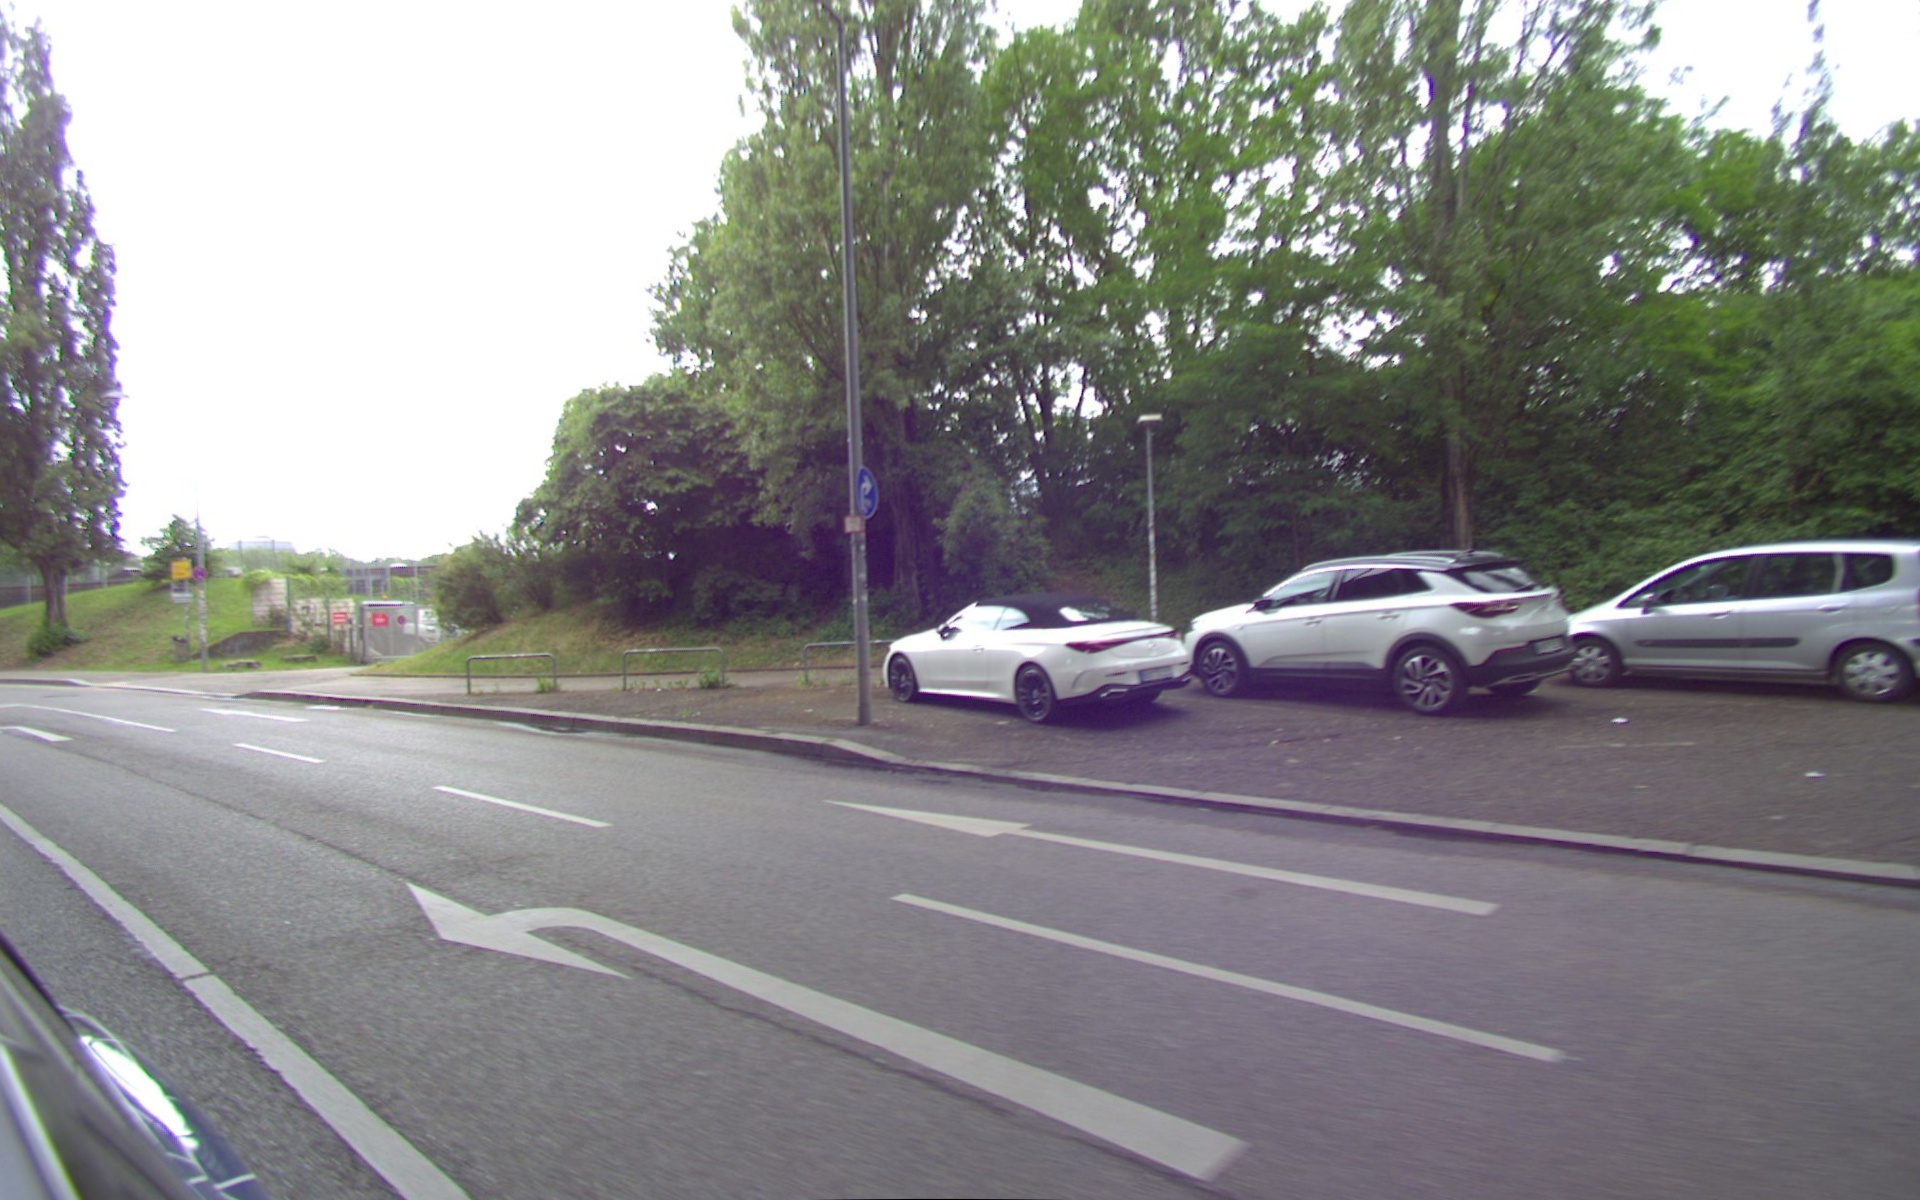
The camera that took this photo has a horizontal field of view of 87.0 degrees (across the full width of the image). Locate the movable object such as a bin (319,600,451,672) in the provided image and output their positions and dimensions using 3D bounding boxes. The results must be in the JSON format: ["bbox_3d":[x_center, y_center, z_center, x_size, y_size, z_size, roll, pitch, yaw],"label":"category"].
[{"bbox_3d":[-23.067,1.430,40.700,4.167,2.743,2.030,-1,-2,-5],"label":"movable object such as a bin"}]

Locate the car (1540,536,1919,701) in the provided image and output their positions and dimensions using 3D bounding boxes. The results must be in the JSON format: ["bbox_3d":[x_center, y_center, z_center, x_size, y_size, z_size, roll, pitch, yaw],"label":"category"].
[{"bbox_3d":[8.481,0.170,10.600,1.762,1.465,3.757,-2,0,-33],"label":"car"}]

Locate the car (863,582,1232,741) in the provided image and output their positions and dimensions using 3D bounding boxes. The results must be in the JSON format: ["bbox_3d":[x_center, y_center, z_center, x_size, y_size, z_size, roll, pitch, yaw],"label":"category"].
[{"bbox_3d":[0.879,0.606,12.960,1.968,1.490,4.840,-6,4,-35],"label":"car"}]

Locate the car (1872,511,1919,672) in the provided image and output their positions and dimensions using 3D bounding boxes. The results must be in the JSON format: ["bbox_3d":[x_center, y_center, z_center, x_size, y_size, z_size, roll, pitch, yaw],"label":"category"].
[{"bbox_3d":[11.869,-0.146,9.768,1.831,1.704,4.176,-2,0,-32],"label":"car"}]

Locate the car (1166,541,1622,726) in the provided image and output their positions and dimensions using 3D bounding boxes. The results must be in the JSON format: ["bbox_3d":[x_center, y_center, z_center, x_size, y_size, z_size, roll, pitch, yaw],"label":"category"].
[{"bbox_3d":[4.748,0.277,11.707,1.968,1.594,4.411,-6,4,-35],"label":"car"}]
